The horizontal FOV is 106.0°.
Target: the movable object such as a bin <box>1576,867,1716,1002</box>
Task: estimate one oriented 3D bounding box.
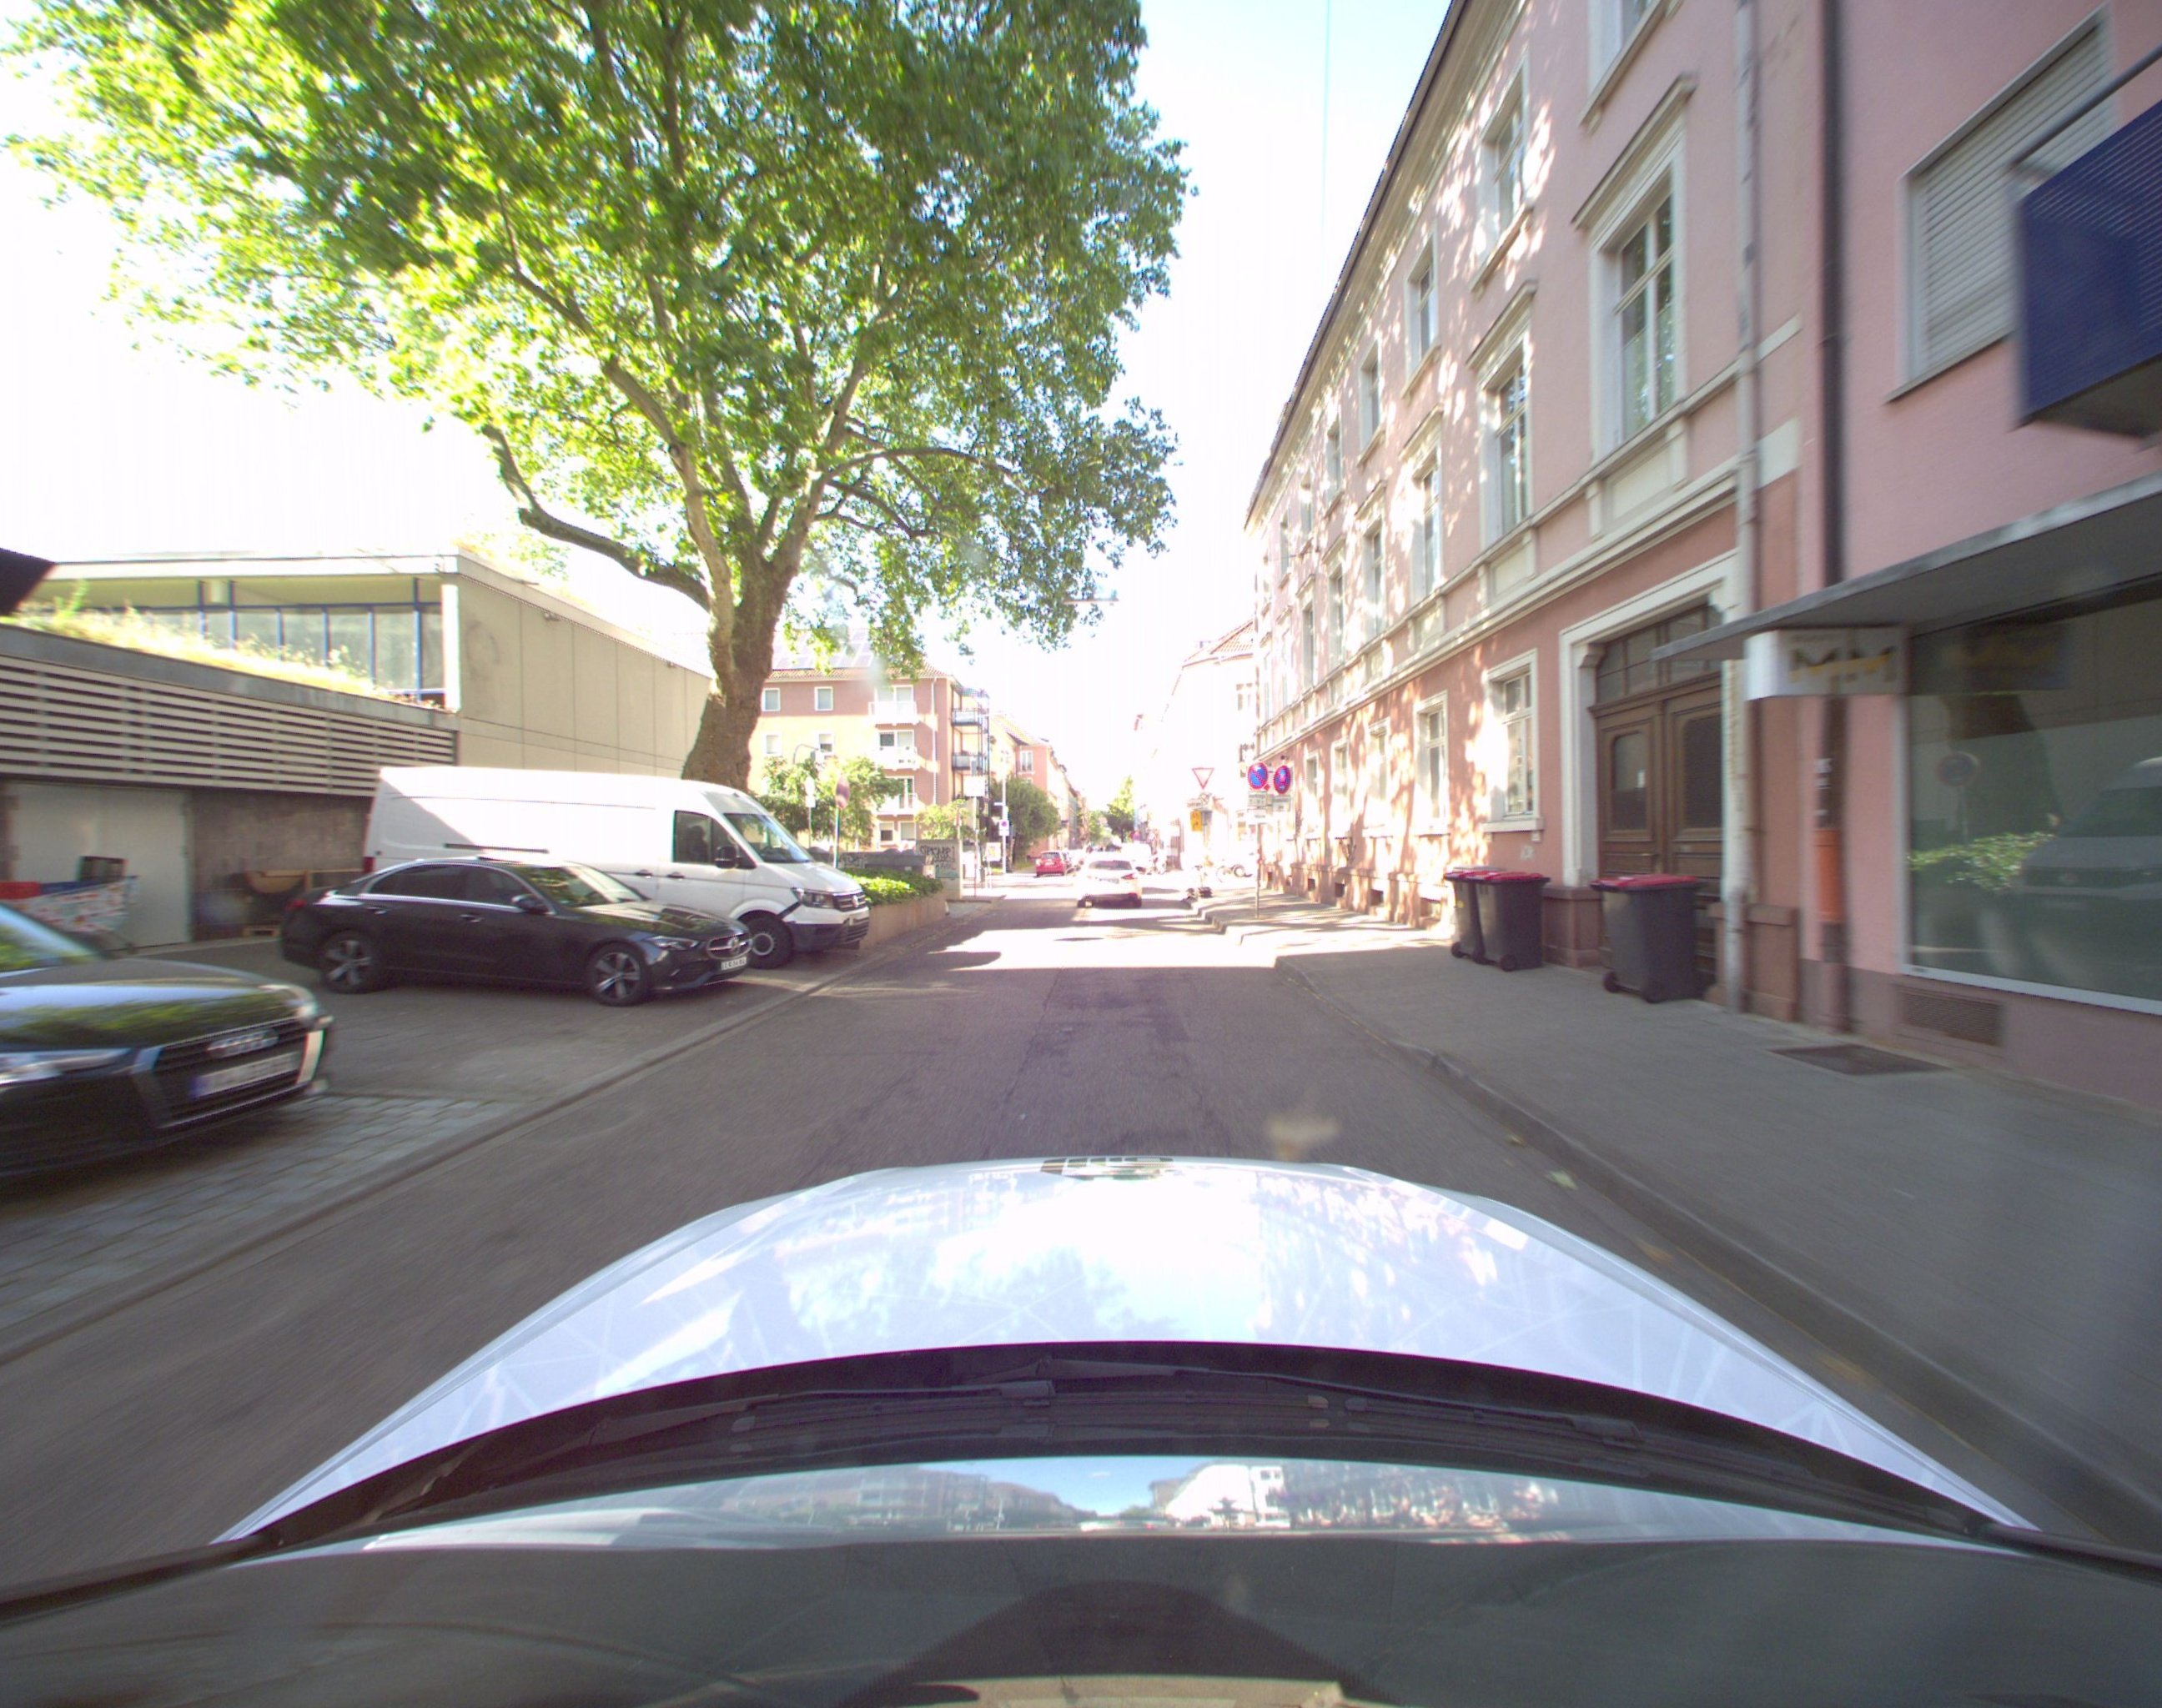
[{"bbox_3d":[4.936,0.682,7.163,0.727,1.104,0.693,-1,-1,0],"label":"movable object such as a bin"}]

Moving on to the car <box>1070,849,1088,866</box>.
[{"bbox_3d":[-0.187,0.364,80.885,1.566,1.585,3.613,-1,0,3],"label":"car"}]

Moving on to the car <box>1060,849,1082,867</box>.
[{"bbox_3d":[-0.853,0.356,70.585,1.595,1.477,3.570,-1,0,3],"label":"car"}]

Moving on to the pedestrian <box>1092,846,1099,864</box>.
[{"bbox_3d":[1.486,0.131,84.350,0.644,1.797,0.639,-1,-1,2],"label":"pedestrian"}]

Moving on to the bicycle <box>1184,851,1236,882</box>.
[{"bbox_3d":[5.524,0.537,34.942,2.152,1.255,0.835,-1,0,7],"label":"bicycle"}]

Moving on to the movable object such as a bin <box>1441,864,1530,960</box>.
[{"bbox_3d":[4.822,0.676,9.745,0.742,1.086,0.635,-1,-1,3],"label":"movable object such as a bin"}]

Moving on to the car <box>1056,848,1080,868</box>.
[{"bbox_3d":[-1.035,0.343,66.574,1.713,1.576,3.728,-1,0,3],"label":"car"}]

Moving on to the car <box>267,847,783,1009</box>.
[{"bbox_3d":[-6.006,0.736,9.195,4.481,1.470,1.931,2,0,3],"label":"car"}]

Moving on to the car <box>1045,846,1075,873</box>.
[{"bbox_3d":[-1.353,0.373,54.272,1.713,1.682,3.728,-1,0,3],"label":"car"}]

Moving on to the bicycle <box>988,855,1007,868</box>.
[{"bbox_3d":[-6.151,0.550,60.083,0.607,0.932,1.896,-1,0,-31],"label":"bicycle"}]

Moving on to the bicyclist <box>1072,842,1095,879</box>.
[{"bbox_3d":[0.098,0.285,35.916,0.980,1.553,0.761,-1,-1,-1],"label":"bicyclist"}]

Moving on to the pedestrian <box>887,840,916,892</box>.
[{"bbox_3d":[-6.485,0.422,29.458,0.967,1.839,0.679,1,0,-13],"label":"pedestrian"}]

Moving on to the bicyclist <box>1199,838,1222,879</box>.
[{"bbox_3d":[5.556,0.178,34.981,0.919,1.720,0.944,-1,-1,8],"label":"bicyclist"}]

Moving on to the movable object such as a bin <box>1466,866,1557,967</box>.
[{"bbox_3d":[4.799,0.682,9.113,0.698,1.073,0.597,-1,-1,3],"label":"movable object such as a bin"}]

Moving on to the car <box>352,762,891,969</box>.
[{"bbox_3d":[-6.472,0.131,12.008,6.710,2.555,2.147,2,0,3],"label":"car"}]

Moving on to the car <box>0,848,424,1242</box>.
[{"bbox_3d":[-6.478,0.766,4.254,4.452,1.610,1.915,1,0,-1],"label":"car"}]

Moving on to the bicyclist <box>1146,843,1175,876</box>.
[{"bbox_3d":[3.808,0.276,39.006,1.187,1.516,0.844,-2,-1,14],"label":"bicyclist"}]

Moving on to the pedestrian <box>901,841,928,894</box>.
[{"bbox_3d":[-5.827,0.467,28.497,0.853,1.815,0.811,1,-1,-12],"label":"pedestrian"}]

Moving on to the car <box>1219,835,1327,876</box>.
[{"bbox_3d":[9.488,0.108,40.290,4.844,1.928,2.012,-1,-2,26],"label":"car"}]

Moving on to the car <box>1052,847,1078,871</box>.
[{"bbox_3d":[-1.159,0.357,59.786,1.629,1.656,3.787,-1,0,3],"label":"car"}]

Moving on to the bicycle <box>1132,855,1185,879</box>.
[{"bbox_3d":[3.716,0.637,39.071,2.407,1.080,0.793,-1,0,14],"label":"bicycle"}]

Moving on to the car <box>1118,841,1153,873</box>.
[{"bbox_3d":[3.421,0.164,51.771,1.936,1.948,4.077,0,0,0],"label":"car"}]

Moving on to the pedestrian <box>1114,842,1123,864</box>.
[{"bbox_3d":[3.758,-0.115,81.777,0.768,2.118,0.835,-1,-1,3],"label":"pedestrian"}]

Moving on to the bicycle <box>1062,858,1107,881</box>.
[{"bbox_3d":[0.154,0.684,35.915,1.921,0.986,0.663,-1,0,-1],"label":"bicycle"}]

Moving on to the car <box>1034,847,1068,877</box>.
[{"bbox_3d":[-1.741,0.450,48.679,1.763,1.588,3.727,-1,1,1],"label":"car"}]

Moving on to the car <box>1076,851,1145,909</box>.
[{"bbox_3d":[0.832,0.685,23.713,1.817,1.514,3.825,-1,0,1],"label":"car"}]
